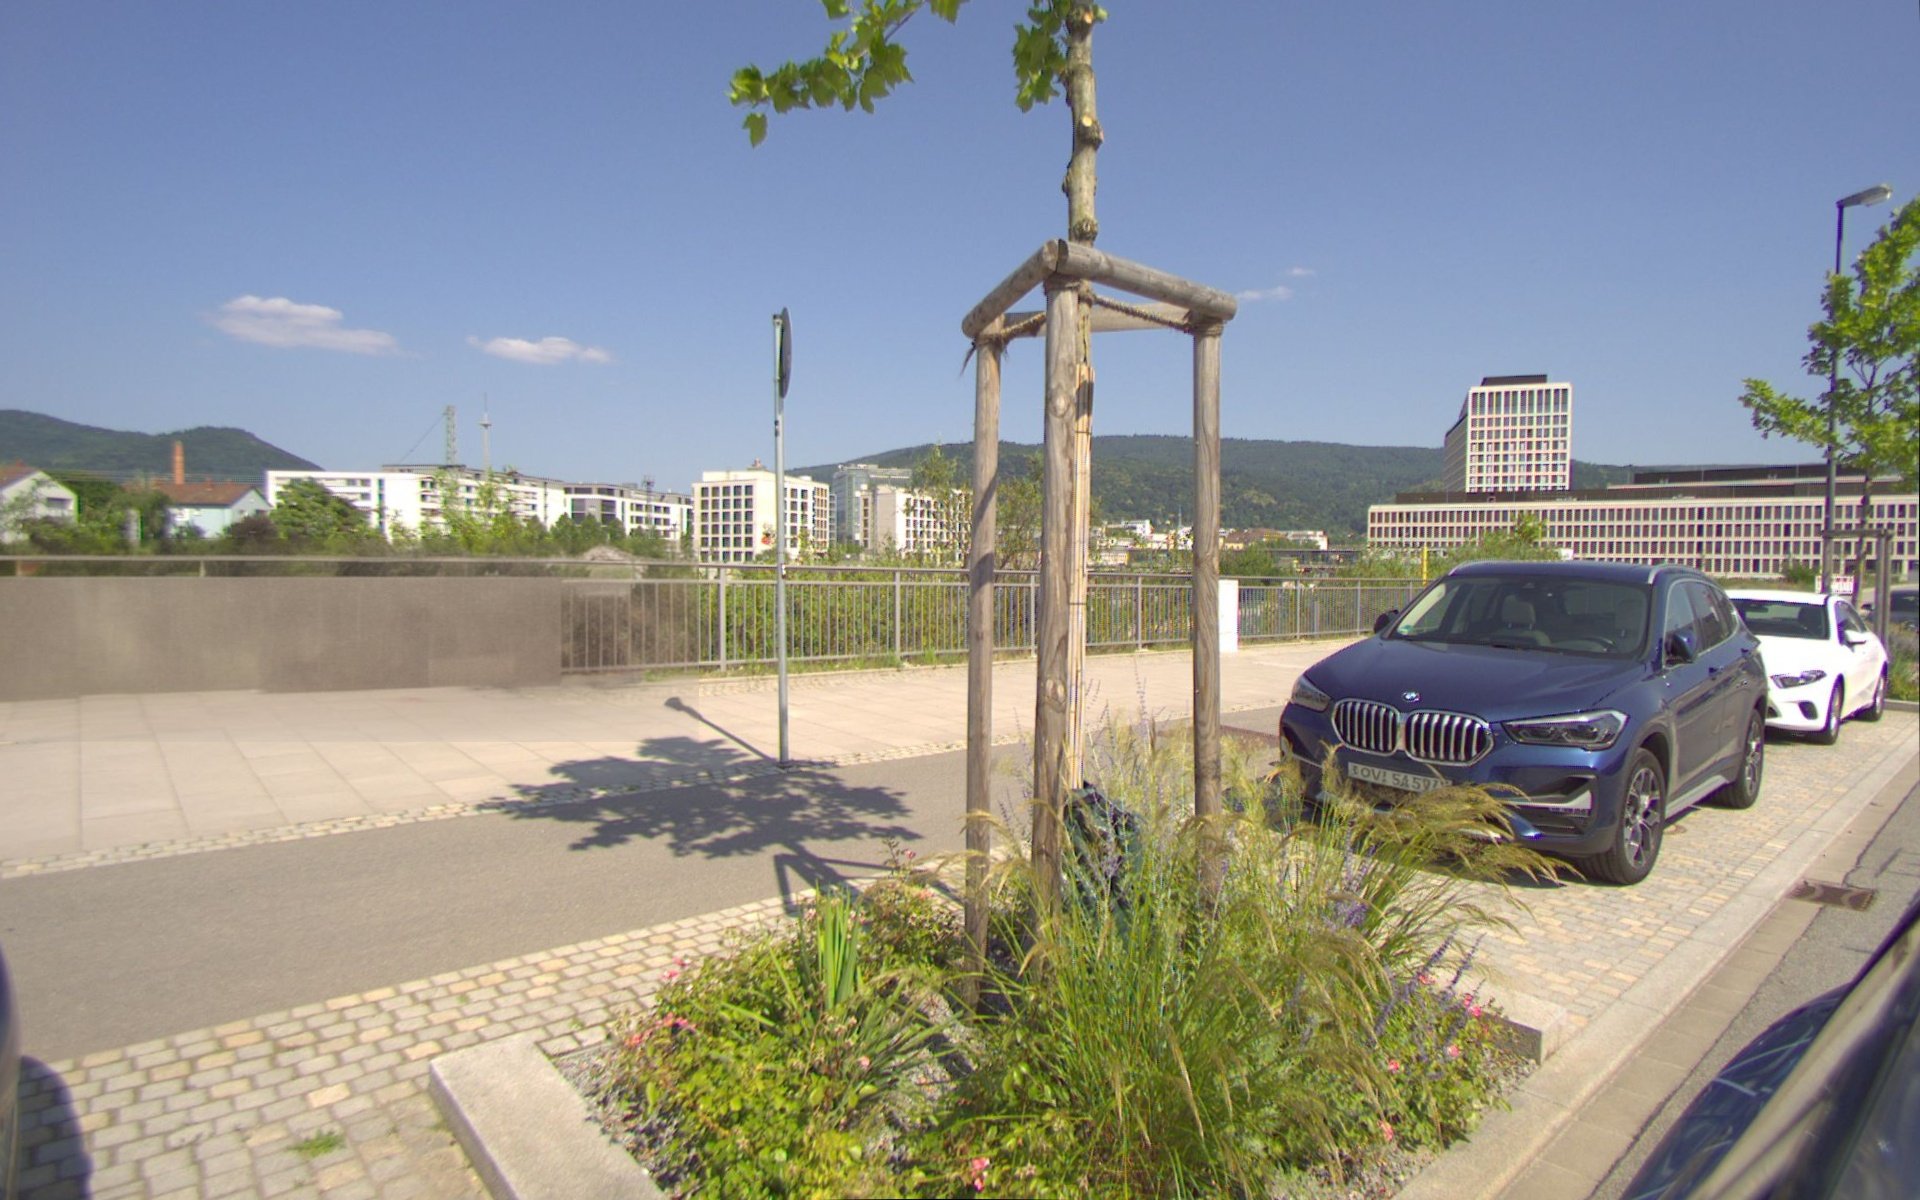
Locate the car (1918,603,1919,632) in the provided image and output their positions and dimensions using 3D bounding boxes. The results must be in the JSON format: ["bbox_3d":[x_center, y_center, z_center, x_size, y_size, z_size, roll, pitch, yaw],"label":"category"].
[{"bbox_3d":[27.406,0.140,27.580,2.955,1.491,1.569,-1,5,-41],"label":"car"}]

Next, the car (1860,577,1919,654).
[{"bbox_3d":[20.226,0.302,20.991,3.849,1.449,1.808,-1,5,-41],"label":"car"}]

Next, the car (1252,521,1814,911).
[{"bbox_3d":[3.845,0.418,6.465,4.197,1.703,1.807,-1,4,-41],"label":"car"}]

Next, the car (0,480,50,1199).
[{"bbox_3d":[-2.835,0.606,0.512,3.485,1.574,1.585,0,4,-42],"label":"car"}]

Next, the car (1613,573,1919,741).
[{"bbox_3d":[8.860,0.458,10.981,4.194,1.390,1.711,-1,5,-39],"label":"car"}]
